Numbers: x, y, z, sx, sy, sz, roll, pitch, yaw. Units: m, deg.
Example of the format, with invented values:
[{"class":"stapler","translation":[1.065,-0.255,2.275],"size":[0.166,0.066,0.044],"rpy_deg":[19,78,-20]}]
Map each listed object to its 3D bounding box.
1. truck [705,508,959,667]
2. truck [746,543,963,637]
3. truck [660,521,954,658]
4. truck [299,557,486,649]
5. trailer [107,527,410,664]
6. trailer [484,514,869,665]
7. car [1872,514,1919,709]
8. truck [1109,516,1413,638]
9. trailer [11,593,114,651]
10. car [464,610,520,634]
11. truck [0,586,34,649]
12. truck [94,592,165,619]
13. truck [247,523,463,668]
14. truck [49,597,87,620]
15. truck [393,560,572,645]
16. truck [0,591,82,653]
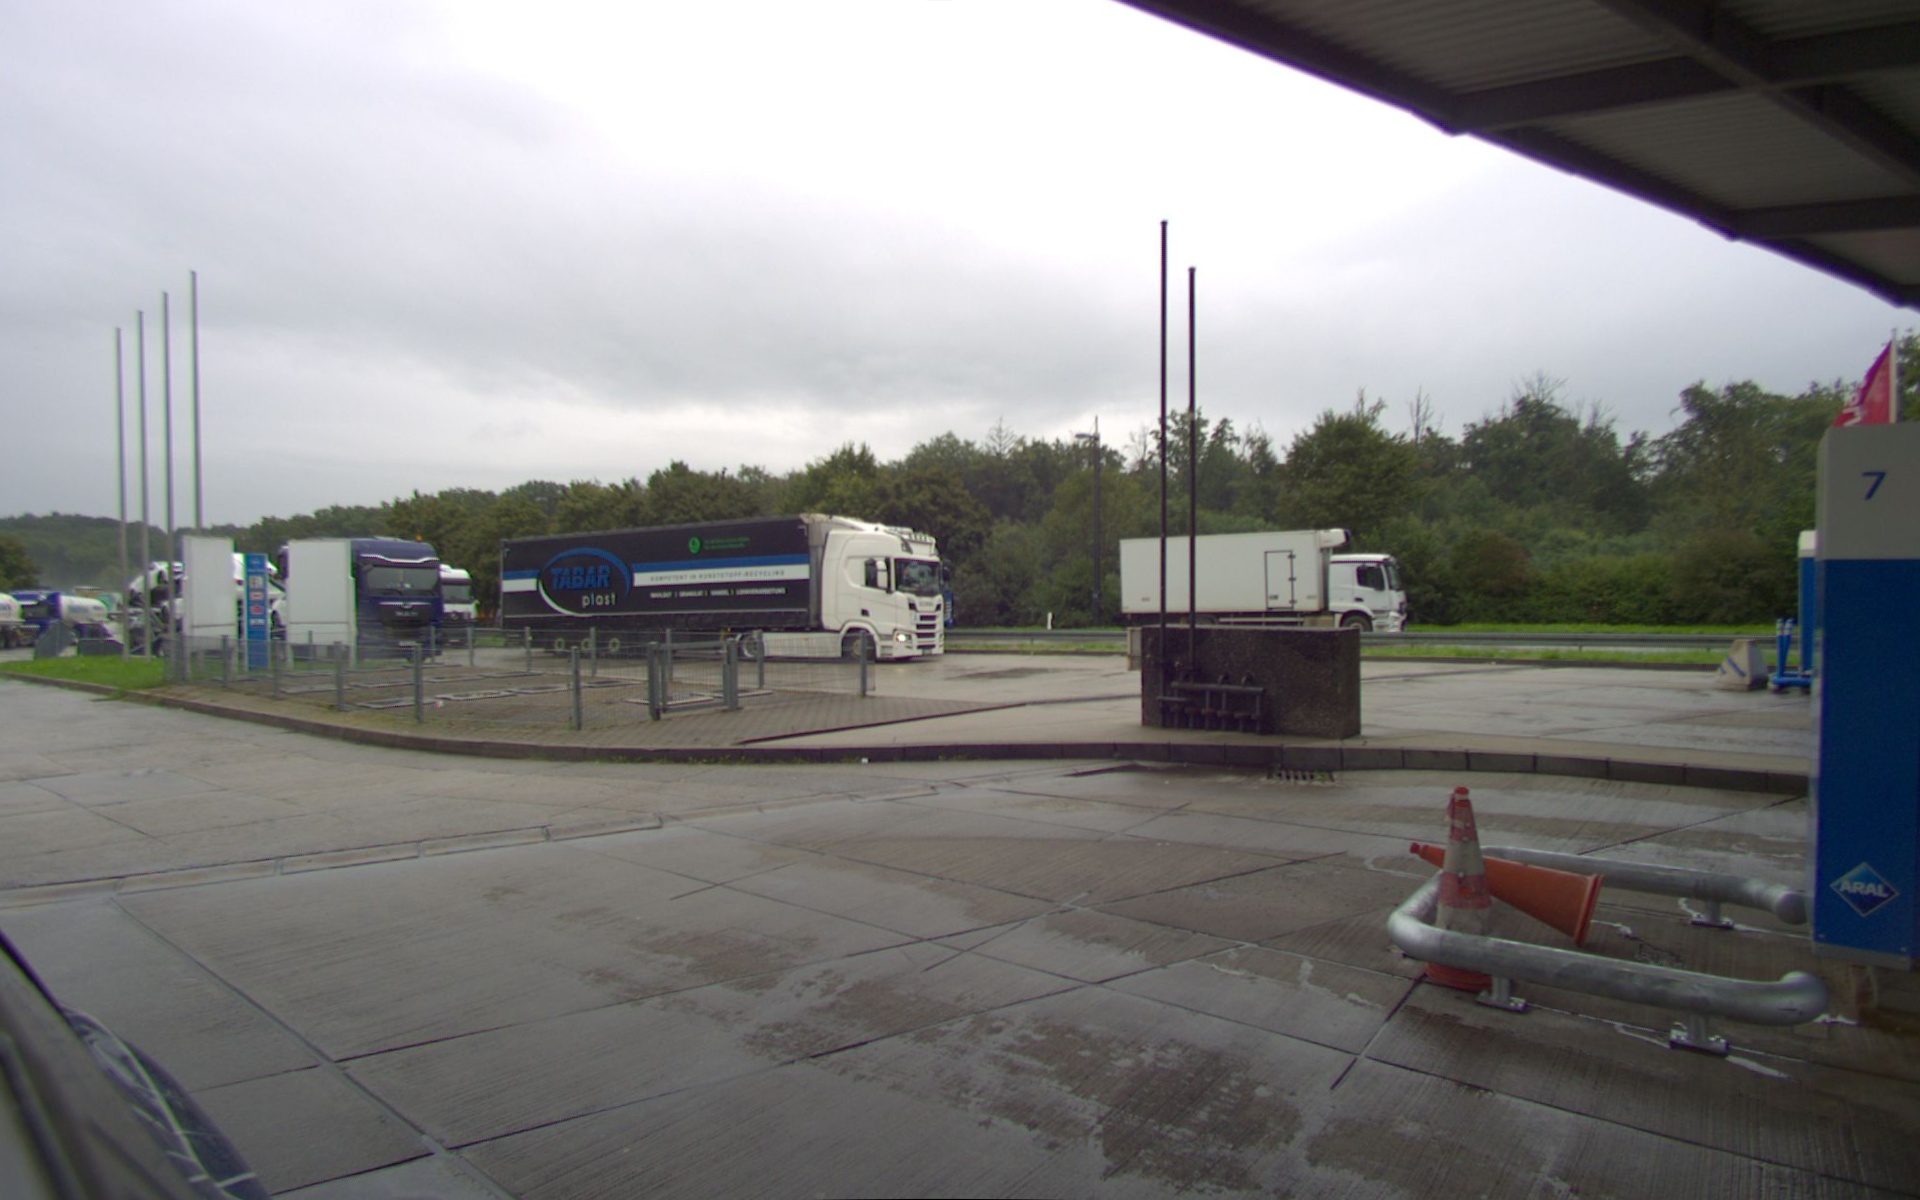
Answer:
[{"class":"truck","translation":[-3.671,-0.283,28.782],"size":[6.712,4.063,2.962],"rpy_deg":[-1,0,29]},{"class":"truck","translation":[-5.128,-0.367,47.688],"size":[10.433,4.063,2.961],"rpy_deg":[-1,0,30]},{"class":"truck","translation":[-5.381,-0.263,33.953],"size":[10.608,4.063,2.743],"rpy_deg":[-1,0,33]},{"class":"truck","translation":[-27.290,0.182,48.447],"size":[10.433,4.063,2.961],"rpy_deg":[-1,0,30]},{"class":"trailer","translation":[-25.407,-0.051,35.925],"size":[16.563,4.063,2.957],"rpy_deg":[-1,0,34]},{"class":"trailer","translation":[-9.380,-0.210,31.988],"size":[13.752,4.063,2.961],"rpy_deg":[-1,0,30]},{"class":"car","translation":[14.886,0.121,12.383],"size":[5.272,2.482,2.298],"rpy_deg":[-1,-2,37]},{"class":"truck","translation":[11.022,-0.725,37.731],"size":[10.433,4.063,2.961],"rpy_deg":[-1,0,30]},{"class":"trailer","translation":[-62.255,1.438,70.488],"size":[2.854,3.666,10.605],"rpy_deg":[-1,0,-28]},{"class":"car","translation":[-44.814,2.078,96.790],"size":[5.612,2.192,2.393],"rpy_deg":[-1,-1,35]},{"class":"truck","translation":[-55.545,1.021,55.021],"size":[3.196,3.591,12.013],"rpy_deg":[-1,0,-19]},{"class":"truck","translation":[-117.852,0.838,143.418],"size":[16.515,3.591,3.215],"rpy_deg":[-1,0,34]},{"class":"truck","translation":[-18.983,-0.108,31.622],"size":[7.244,4.063,2.957],"rpy_deg":[-1,0,34]},{"class":"truck","translation":[-141.024,1.356,160.019],"size":[9.306,3.504,2.588],"rpy_deg":[-1,0,36]},{"class":"truck","translation":[-24.768,0.149,52.275],"size":[10.433,4.063,2.961],"rpy_deg":[-1,0,30]},{"class":"truck","translation":[-59.410,1.374,65.001],"size":[3.000,3.796,6.486],"rpy_deg":[-1,0,-27]}]
